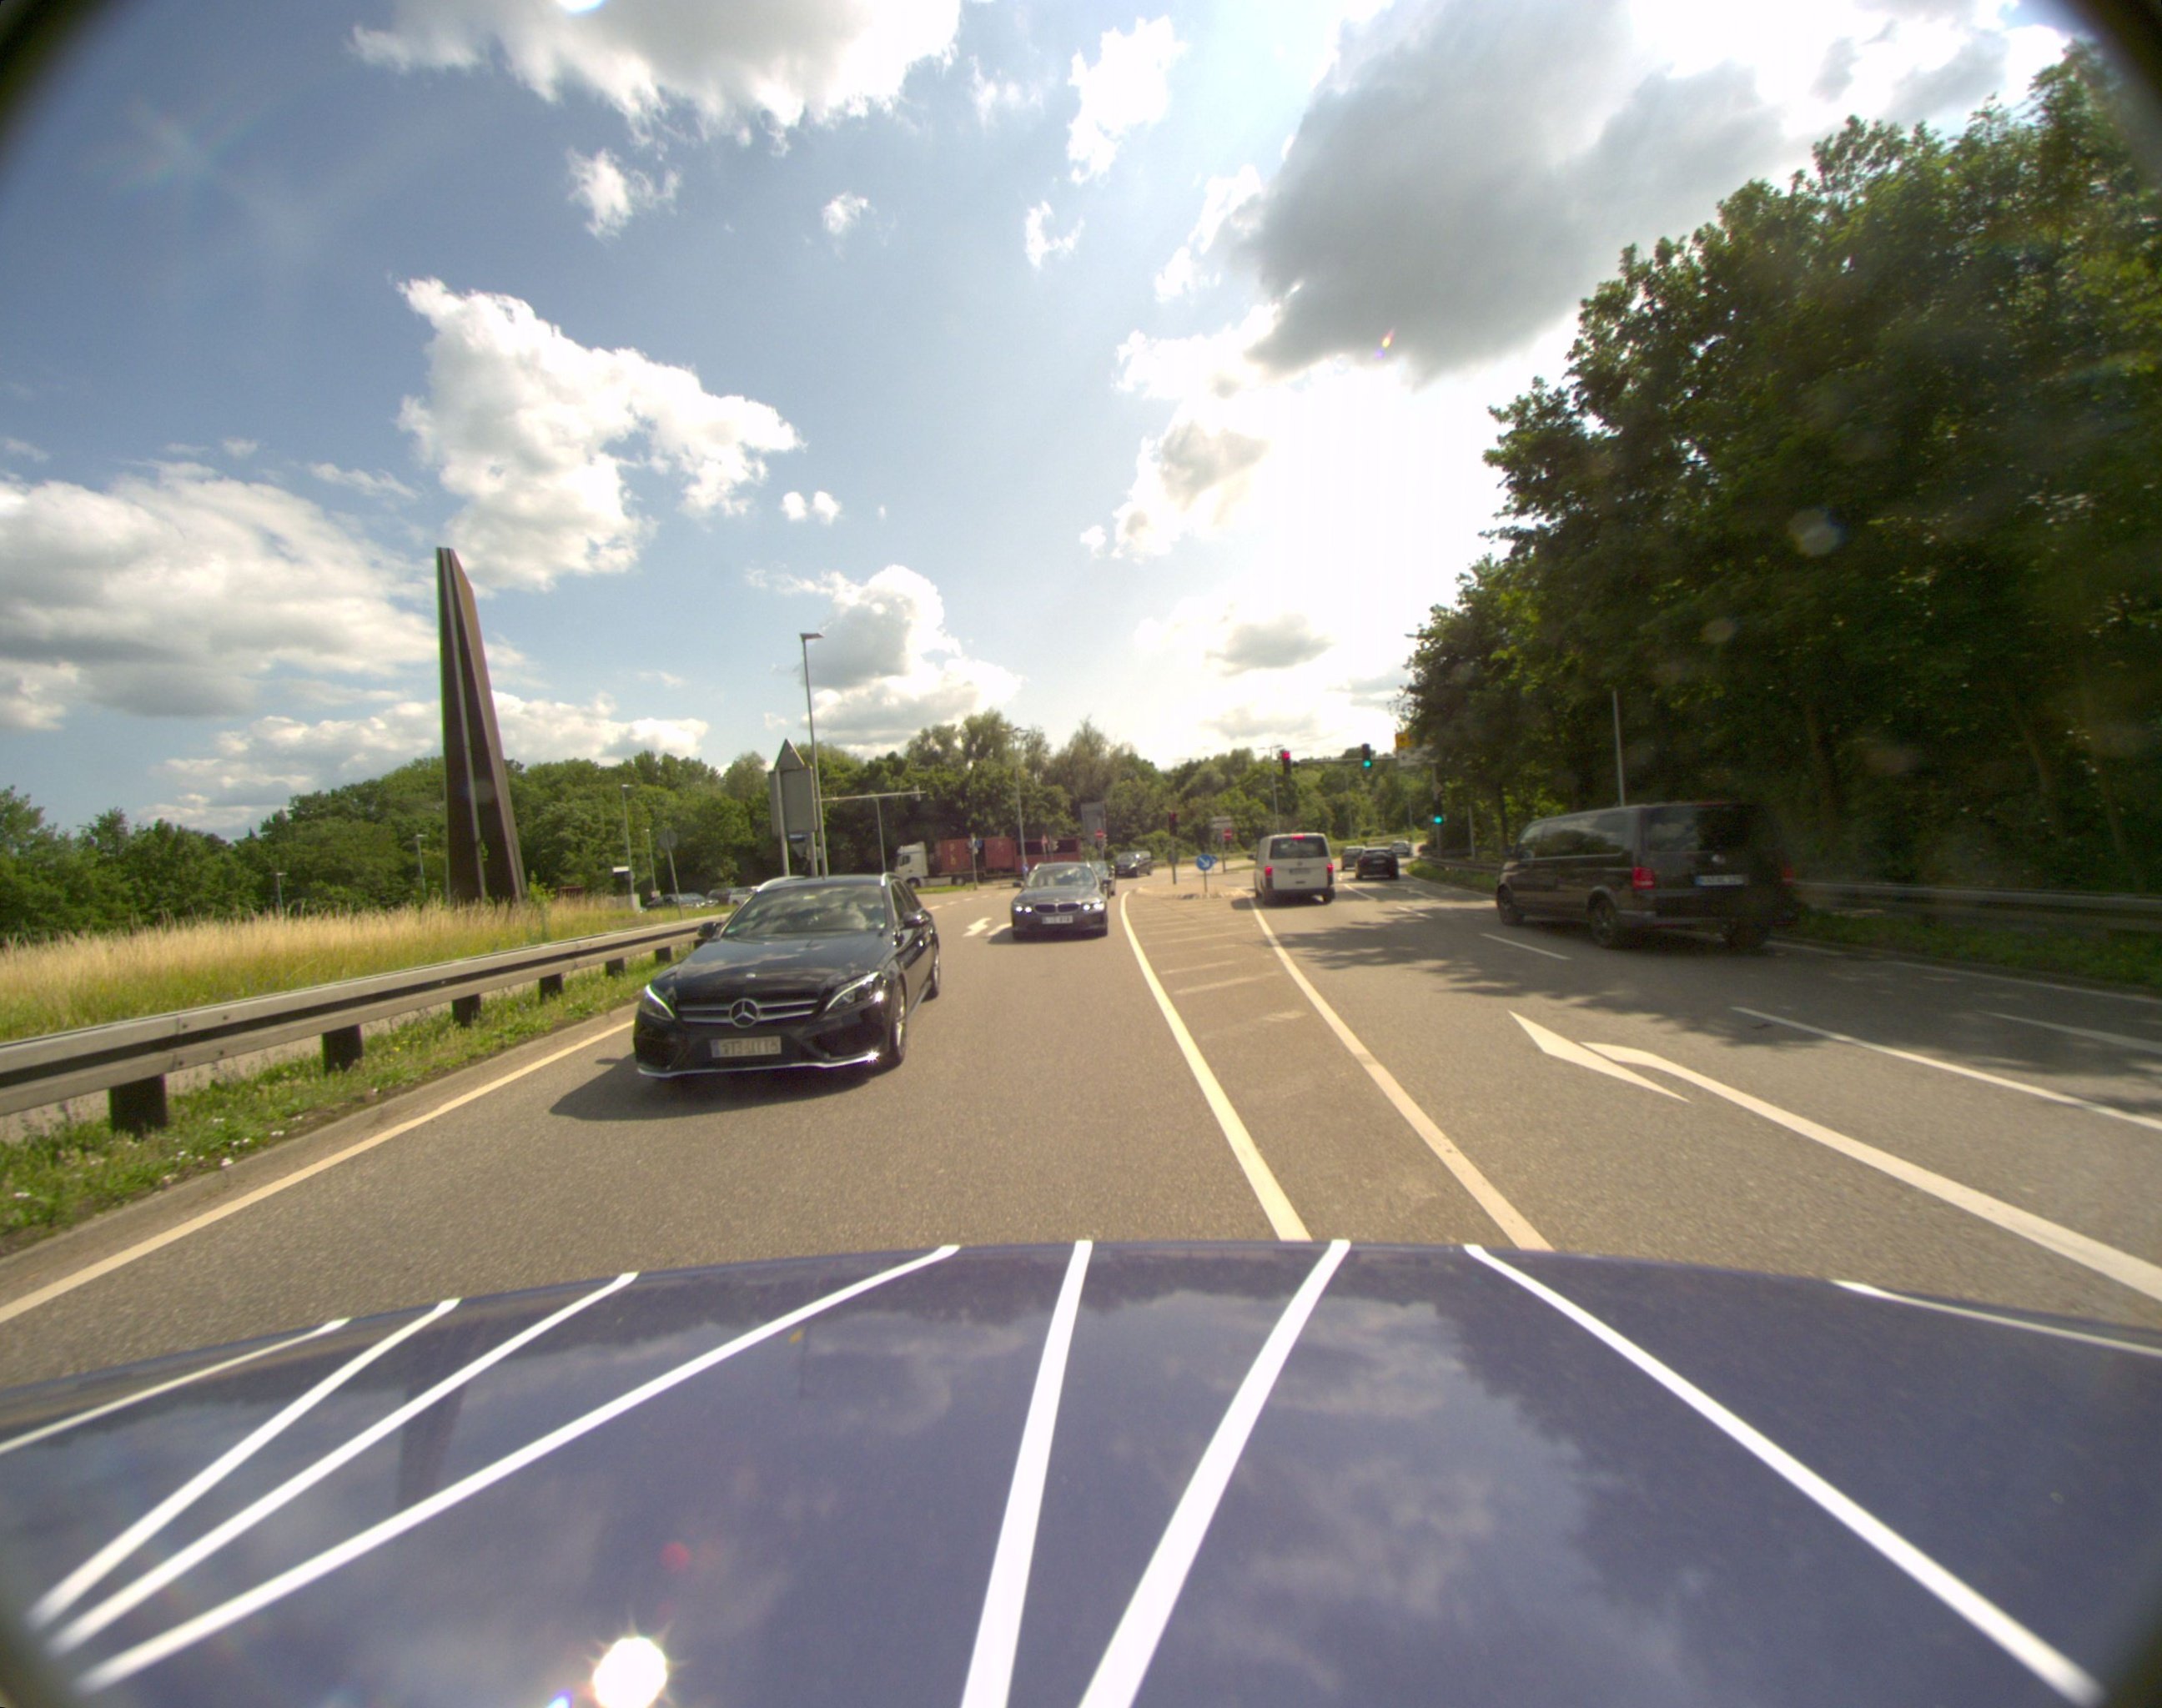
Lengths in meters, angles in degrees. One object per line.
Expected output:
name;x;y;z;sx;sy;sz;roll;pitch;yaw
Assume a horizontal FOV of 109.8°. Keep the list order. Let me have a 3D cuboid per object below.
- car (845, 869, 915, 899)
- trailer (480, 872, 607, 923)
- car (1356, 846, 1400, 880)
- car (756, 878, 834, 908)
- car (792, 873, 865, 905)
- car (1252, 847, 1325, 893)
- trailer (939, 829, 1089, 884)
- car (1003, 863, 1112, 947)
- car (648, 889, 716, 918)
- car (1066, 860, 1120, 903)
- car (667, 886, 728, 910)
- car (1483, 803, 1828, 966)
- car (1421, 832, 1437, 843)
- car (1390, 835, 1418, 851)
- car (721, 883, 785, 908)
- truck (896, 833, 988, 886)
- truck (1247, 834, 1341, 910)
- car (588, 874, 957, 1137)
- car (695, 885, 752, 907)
car;-13.340;1.967;50.283;4.285;1.607;1.848;-5;1;30
trailer;-53.691;4.395;75.771;13.820;3.868;2.651;-6;0;20
car;13.671;0.376;34.804;1.636;1.401;4.345;-2;0;24
car;-16.131;2.215;42.857;4.206;1.367;1.762;-5;-1;30
car;-15.771;2.187;47.403;4.206;1.636;1.841;-5;-1;30
car;7.867;0.581;29.139;1.702;1.548;3.822;-3;0;1
trailer;-5.673;0.147;65.240;12.331;3.827;2.776;-4;0;-22
car;-0.347;0.950;15.778;1.858;1.355;4.000;-2;1;3
car;-25.734;3.216;48.989;3.991;1.455;1.870;-5;0;29
car;0.492;1.011;29.330;1.858;1.402;4.000;-3;0;2
car;-27.219;3.145;53.897;4.206;1.367;1.704;-5;-1;30
car;8.248;0.367;11.711;1.997;1.902;5.135;-2;0;9
car;49.448;-2.355;107.895;1.734;1.512;4.075;-1;1;29
car;30.410;-1.062;71.496;1.683;1.469;4.721;-1;1;32
car;-21.920;2.782;50.725;4.206;1.367;1.649;-5;-1;30
truck;-11.513;0.456;62.808;6.825;3.822;2.774;-4;0;-20
truck;6.165;0.449;22.594;1.964;1.902;5.373;-3;0;9
car;-2.324;1.024;7.066;1.796;1.427;4.368;-4;1;-4
car;-27.141;3.212;57.639;4.040;1.367;1.884;-5;-1;30
